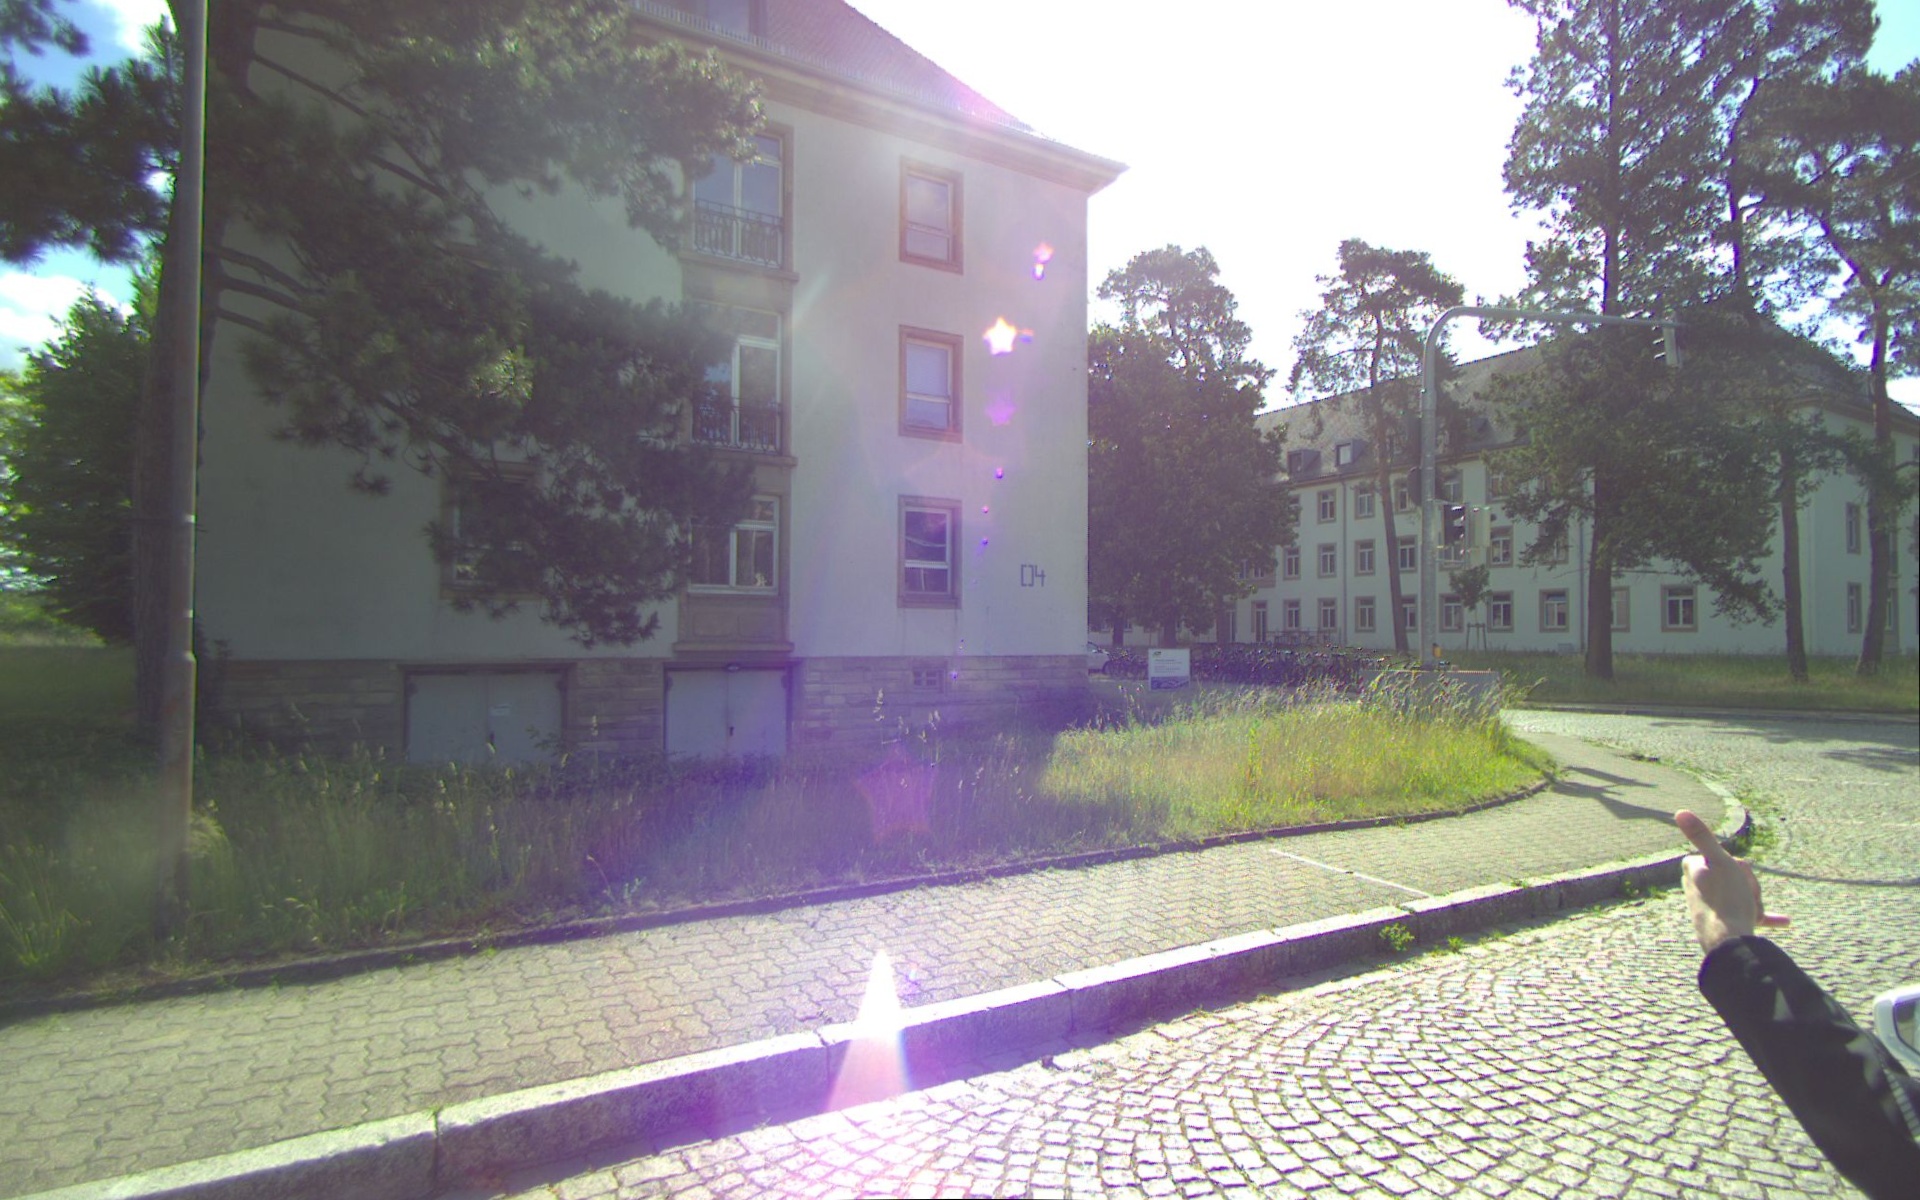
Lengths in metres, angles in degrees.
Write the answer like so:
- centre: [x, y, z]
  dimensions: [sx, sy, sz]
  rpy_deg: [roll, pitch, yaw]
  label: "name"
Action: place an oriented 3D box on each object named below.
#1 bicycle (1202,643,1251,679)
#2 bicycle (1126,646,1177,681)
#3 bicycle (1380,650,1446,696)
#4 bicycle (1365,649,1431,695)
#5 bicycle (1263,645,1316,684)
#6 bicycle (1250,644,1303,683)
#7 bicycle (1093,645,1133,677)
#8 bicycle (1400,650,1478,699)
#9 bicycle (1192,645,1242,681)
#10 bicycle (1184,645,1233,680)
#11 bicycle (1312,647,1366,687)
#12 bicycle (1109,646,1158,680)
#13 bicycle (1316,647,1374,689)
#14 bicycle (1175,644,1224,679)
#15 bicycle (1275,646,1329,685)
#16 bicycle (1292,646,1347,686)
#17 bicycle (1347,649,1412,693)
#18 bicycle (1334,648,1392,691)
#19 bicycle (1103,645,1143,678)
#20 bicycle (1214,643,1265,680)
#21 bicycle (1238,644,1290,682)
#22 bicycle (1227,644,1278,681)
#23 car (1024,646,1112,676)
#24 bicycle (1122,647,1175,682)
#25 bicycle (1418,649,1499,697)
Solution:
- centre: [9.349, 2.116, 35.212]
  dimensions: [1.915, 1.236, 0.511]
  rpy_deg: [1, -2, -31]
  label: "bicycle"
- centre: [7.043, 2.322, 36.938]
  dimensions: [1.794, 1.236, 0.515]
  rpy_deg: [-1, -2, 24]
  label: "bicycle"
- centre: [12.715, 2.023, 28.177]
  dimensions: [2.090, 1.236, 0.630]
  rpy_deg: [1, -2, -31]
  label: "bicycle"
- centre: [12.466, 2.029, 28.590]
  dimensions: [2.100, 1.236, 0.630]
  rpy_deg: [1, -2, -31]
  label: "bicycle"
- centre: [10.758, 2.088, 32.763]
  dimensions: [1.954, 1.236, 0.511]
  rpy_deg: [1, -2, -31]
  label: "bicycle"
- centre: [10.467, 2.090, 33.200]
  dimensions: [1.932, 1.236, 0.511]
  rpy_deg: [1, -2, -31]
  label: "bicycle"
- centre: [6.088, 2.402, 39.944]
  dimensions: [1.813, 1.236, 0.510]
  rpy_deg: [2, -3, -39]
  label: "bicycle"
- centre: [12.703, 1.948, 26.699]
  dimensions: [0.627, 1.236, 1.853]
  rpy_deg: [1, -2, -30]
  label: "bicycle"
- centre: [9.119, 2.214, 35.612]
  dimensions: [1.915, 1.236, 0.511]
  rpy_deg: [1, -2, -31]
  label: "bicycle"
- centre: [8.905, 2.218, 35.983]
  dimensions: [1.915, 1.236, 0.511]
  rpy_deg: [1, -2, -31]
  label: "bicycle"
- centre: [11.873, 2.081, 31.481]
  dimensions: [1.878, 1.236, 0.545]
  rpy_deg: [1, -2, -31]
  label: "bicycle"
- centre: [6.534, 2.376, 37.928]
  dimensions: [1.792, 1.236, 0.516]
  rpy_deg: [0, -2, 6]
  label: "bicycle"
- centre: [11.803, 2.067, 30.768]
  dimensions: [2.006, 1.236, 0.576]
  rpy_deg: [1, -2, -31]
  label: "bicycle"
- centre: [8.687, 2.224, 36.374]
  dimensions: [1.915, 1.236, 0.511]
  rpy_deg: [1, -2, -31]
  label: "bicycle"
- centre: [11.021, 2.087, 32.318]
  dimensions: [1.954, 1.236, 0.511]
  rpy_deg: [1, -2, -31]
  label: "bicycle"
- centre: [11.385, 2.081, 31.782]
  dimensions: [1.993, 1.236, 0.511]
  rpy_deg: [1, -2, -31]
  label: "bicycle"
- centre: [12.170, 2.036, 29.116]
  dimensions: [2.080, 1.236, 0.630]
  rpy_deg: [1, -2, -31]
  label: "bicycle"
- centre: [12.067, 2.054, 30.054]
  dimensions: [1.967, 1.236, 0.569]
  rpy_deg: [1, -2, -31]
  label: "bicycle"
- centre: [6.405, 2.396, 39.428]
  dimensions: [1.815, 1.236, 0.509]
  rpy_deg: [2, -3, -42]
  label: "bicycle"
- centre: [9.664, 2.110, 34.691]
  dimensions: [1.915, 1.236, 0.511]
  rpy_deg: [1, -2, -31]
  label: "bicycle"
- centre: [10.199, 2.096, 33.685]
  dimensions: [1.915, 1.236, 0.511]
  rpy_deg: [1, -2, -31]
  label: "bicycle"
- centre: [9.945, 2.103, 34.169]
  dimensions: [1.915, 1.236, 0.511]
  rpy_deg: [1, -2, -31]
  label: "bicycle"
- centre: [4.583, 2.569, 42.562]
  dimensions: [3.550, 1.227, 1.504]
  rpy_deg: [1, -3, -29]
  label: "car"
- centre: [6.813, 2.313, 36.331]
  dimensions: [1.794, 1.236, 0.515]
  rpy_deg: [-1, -2, 24]
  label: "bicycle"
- centre: [13.357, 1.941, 26.978]
  dimensions: [0.627, 1.236, 1.935]
  rpy_deg: [1, -2, -30]
  label: "bicycle"
